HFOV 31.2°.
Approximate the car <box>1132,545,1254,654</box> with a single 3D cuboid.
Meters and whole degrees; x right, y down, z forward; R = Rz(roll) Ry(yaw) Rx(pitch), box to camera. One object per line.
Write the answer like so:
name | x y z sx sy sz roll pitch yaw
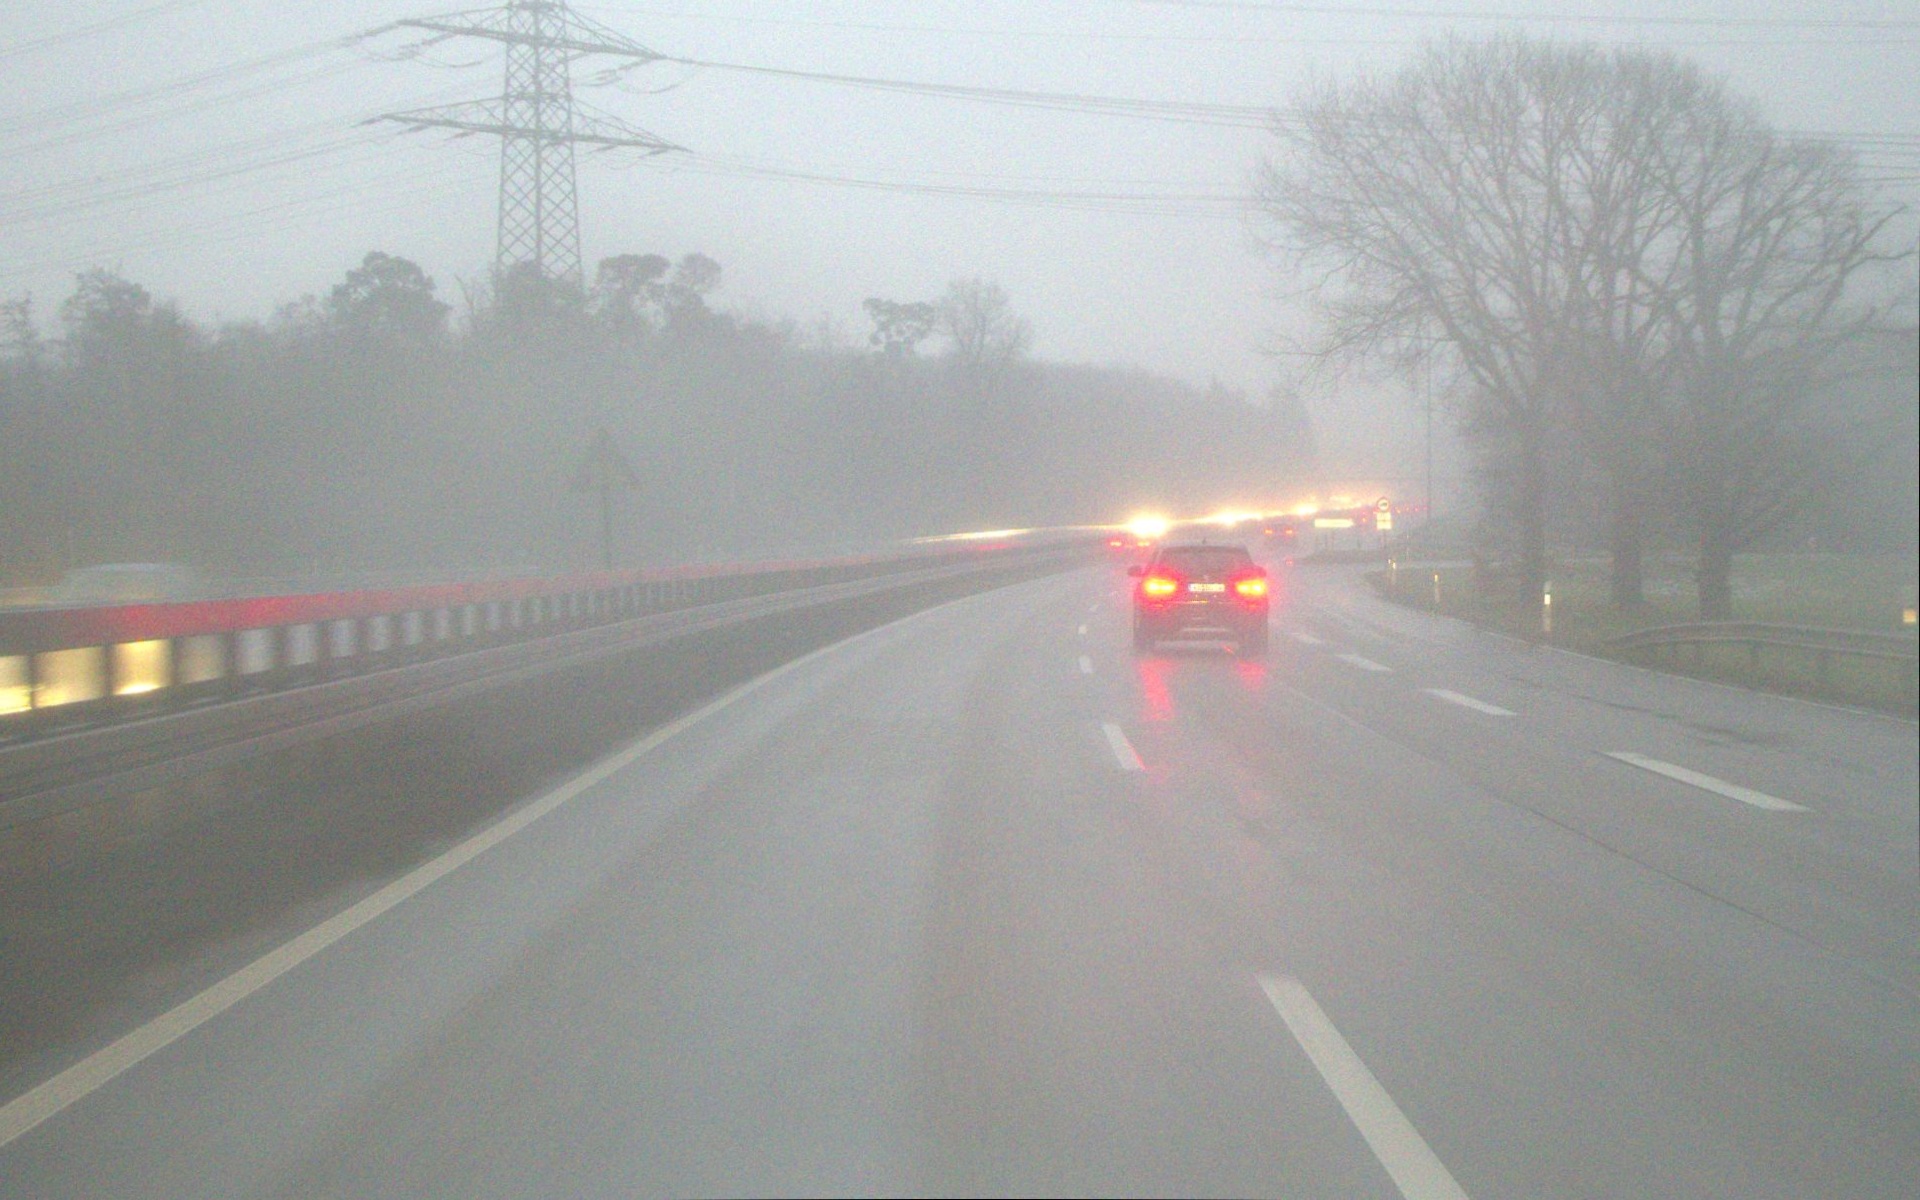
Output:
car | 3.512 -0.041 51.389 1.678 1.503 3.808 0 2 6
